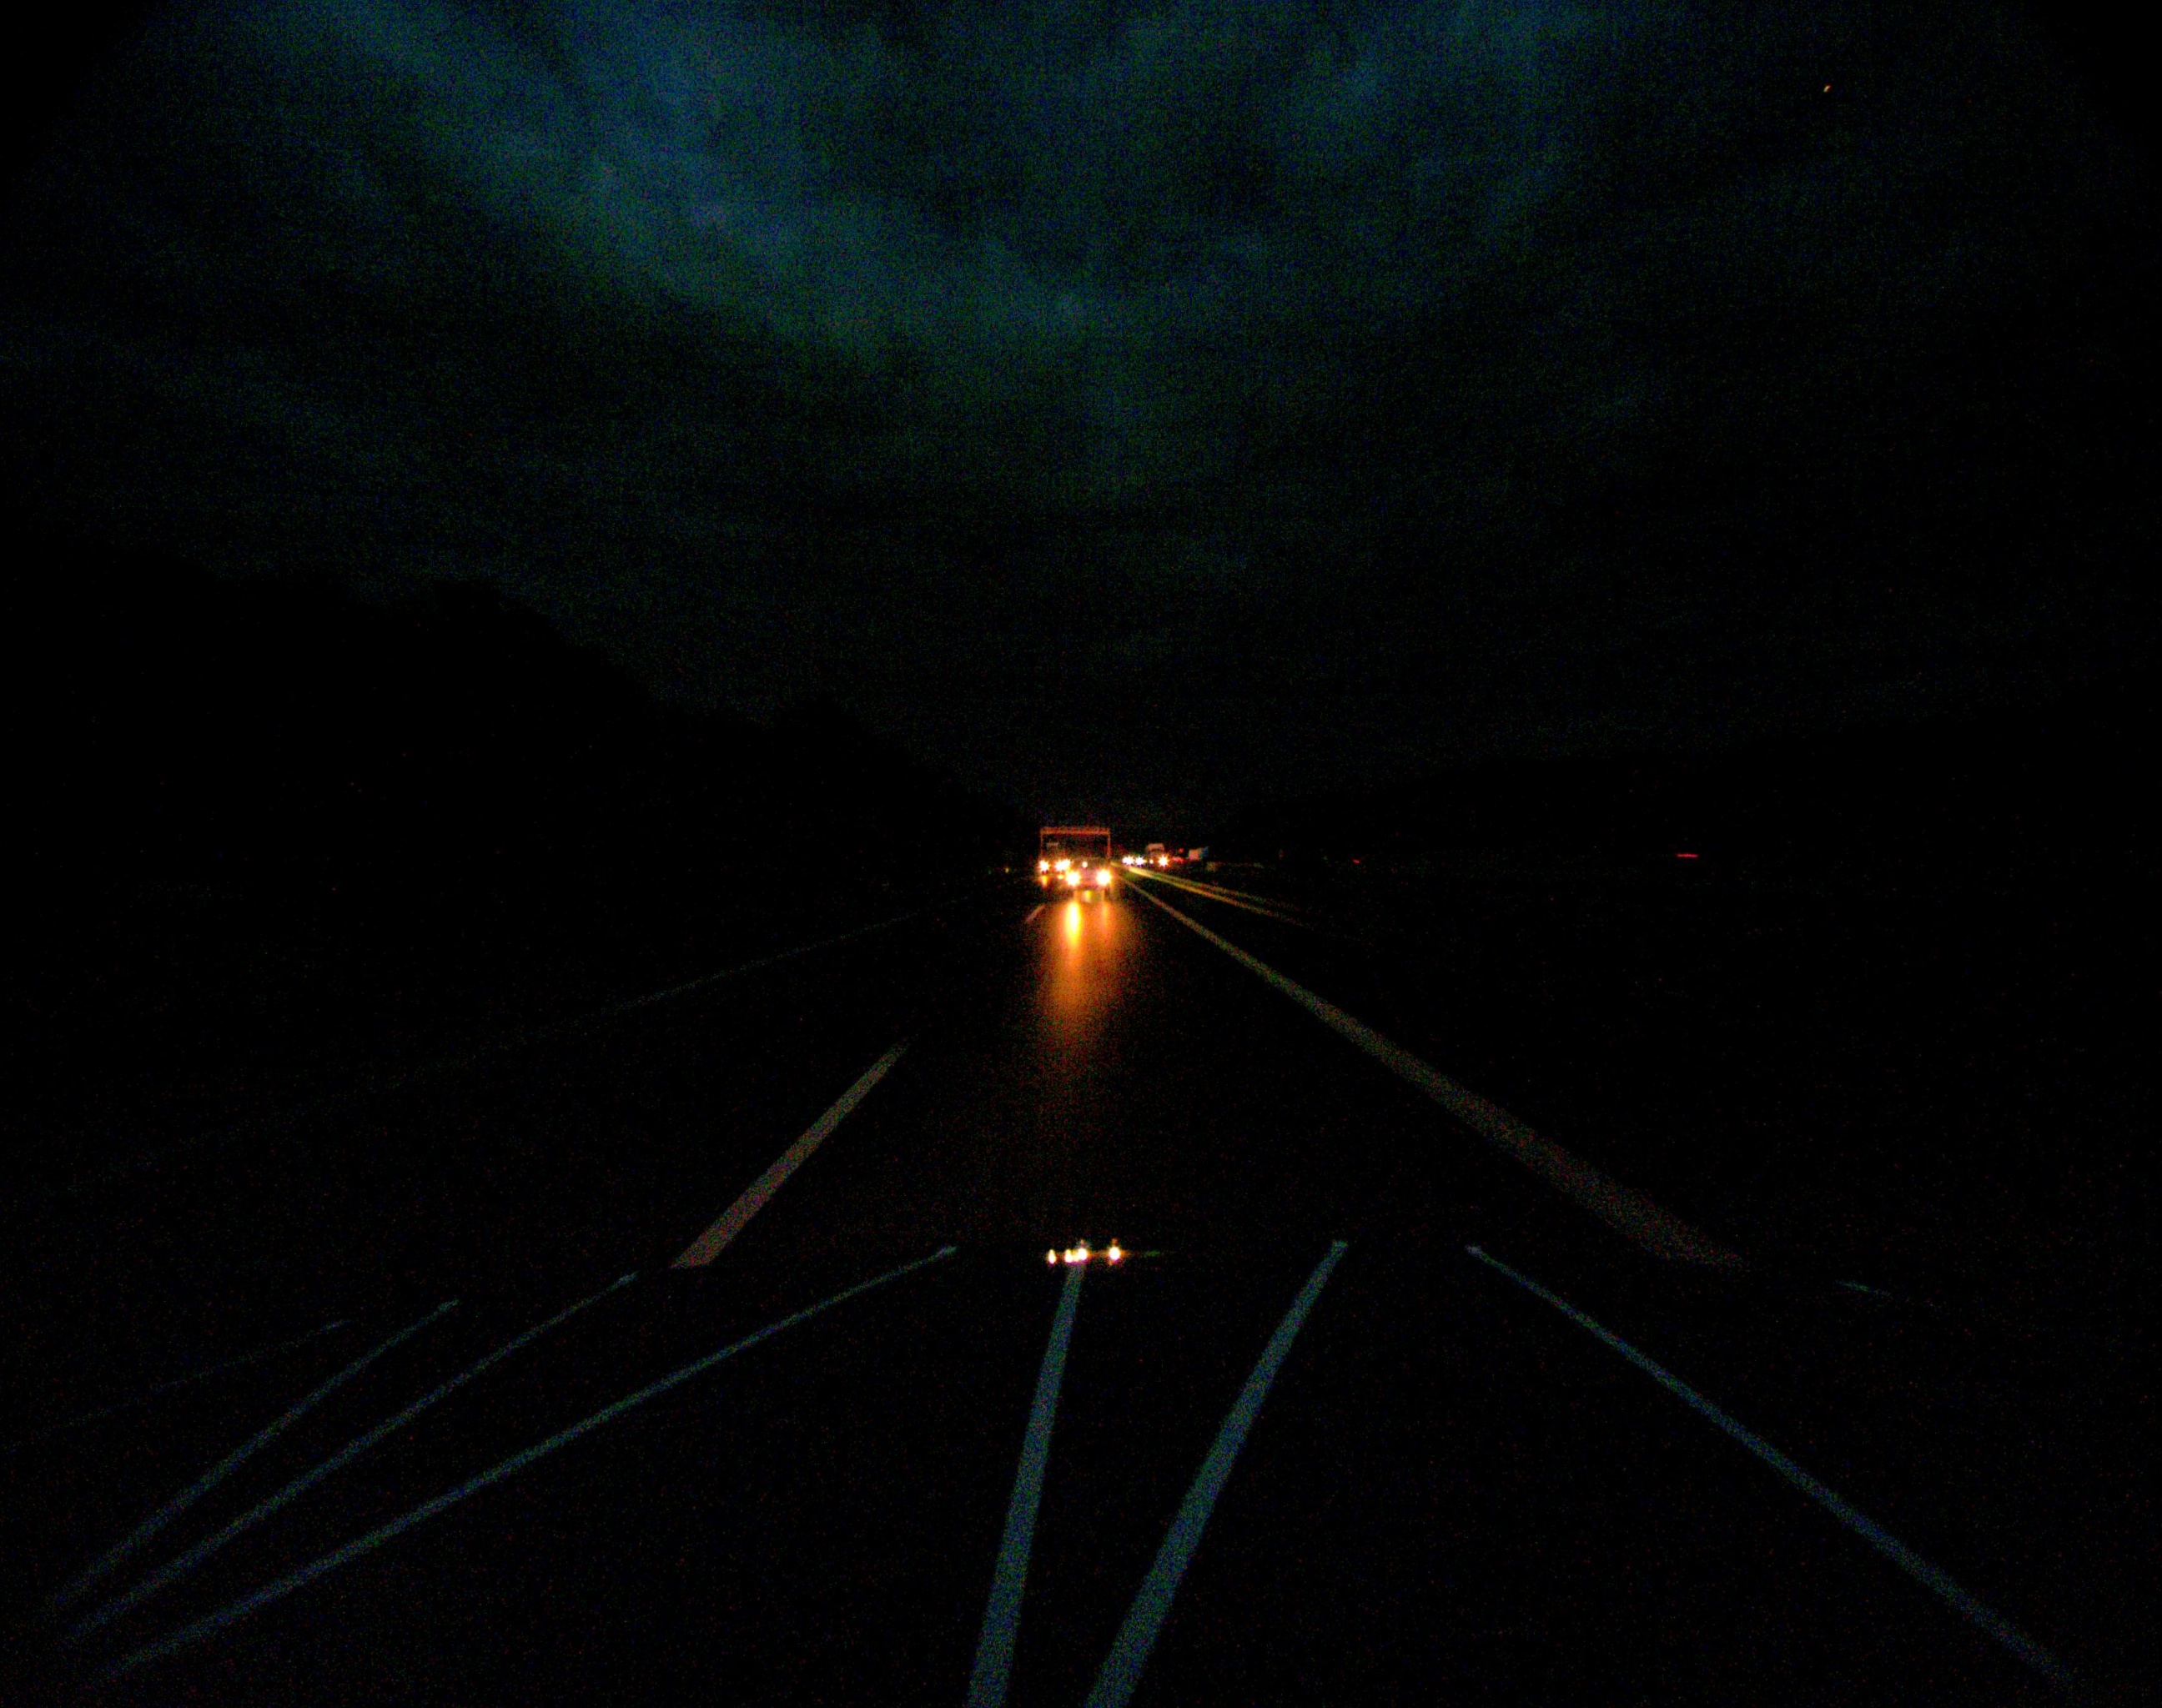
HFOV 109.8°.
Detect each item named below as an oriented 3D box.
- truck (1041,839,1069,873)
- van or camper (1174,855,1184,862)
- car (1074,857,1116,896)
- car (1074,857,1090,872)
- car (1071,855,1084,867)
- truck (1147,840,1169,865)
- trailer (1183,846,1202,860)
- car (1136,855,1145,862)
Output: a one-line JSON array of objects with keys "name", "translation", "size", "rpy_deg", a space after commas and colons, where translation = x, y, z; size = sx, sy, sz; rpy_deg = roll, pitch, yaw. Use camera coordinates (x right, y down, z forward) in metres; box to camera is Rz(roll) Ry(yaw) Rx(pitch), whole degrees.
[{"name": "truck", "translation": [-2.396, 0.214, 71.159], "size": [2.274, 2.954, 6.632], "rpy_deg": [-2, 0, 0]}, {"name": "van or camper", "translation": [27.740, 1.242, 214.766], "size": [1.895, 1.895, 5.540], "rpy_deg": [-1, 0, -1]}, {"name": "car", "translation": [0.597, 0.926, 32.345], "size": [1.669, 1.551, 3.757], "rpy_deg": [0, 0, 1]}, {"name": "car", "translation": [0.077, 1.140, 81.657], "size": [1.614, 1.546, 3.318], "rpy_deg": [1, 0, 0]}, {"name": "car", "translation": [-0.598, 1.145, 130.509], "size": [1.999, 2.002, 3.999], "rpy_deg": [0, 0, -2]}, {"name": "truck", "translation": [13.621, -0.255, 135.446], "size": [3.046, 4.276, 9.891], "rpy_deg": [1, 0, 1]}, {"name": "trailer", "translation": [31.419, -0.212, 214.172], "size": [3.335, 3.743, 13.886], "rpy_deg": [1, 0, 0]}, {"name": "car", "translation": [15.294, 1.207, 195.197], "size": [1.833, 1.674, 4.229], "rpy_deg": [-1, 0, 1]}]
